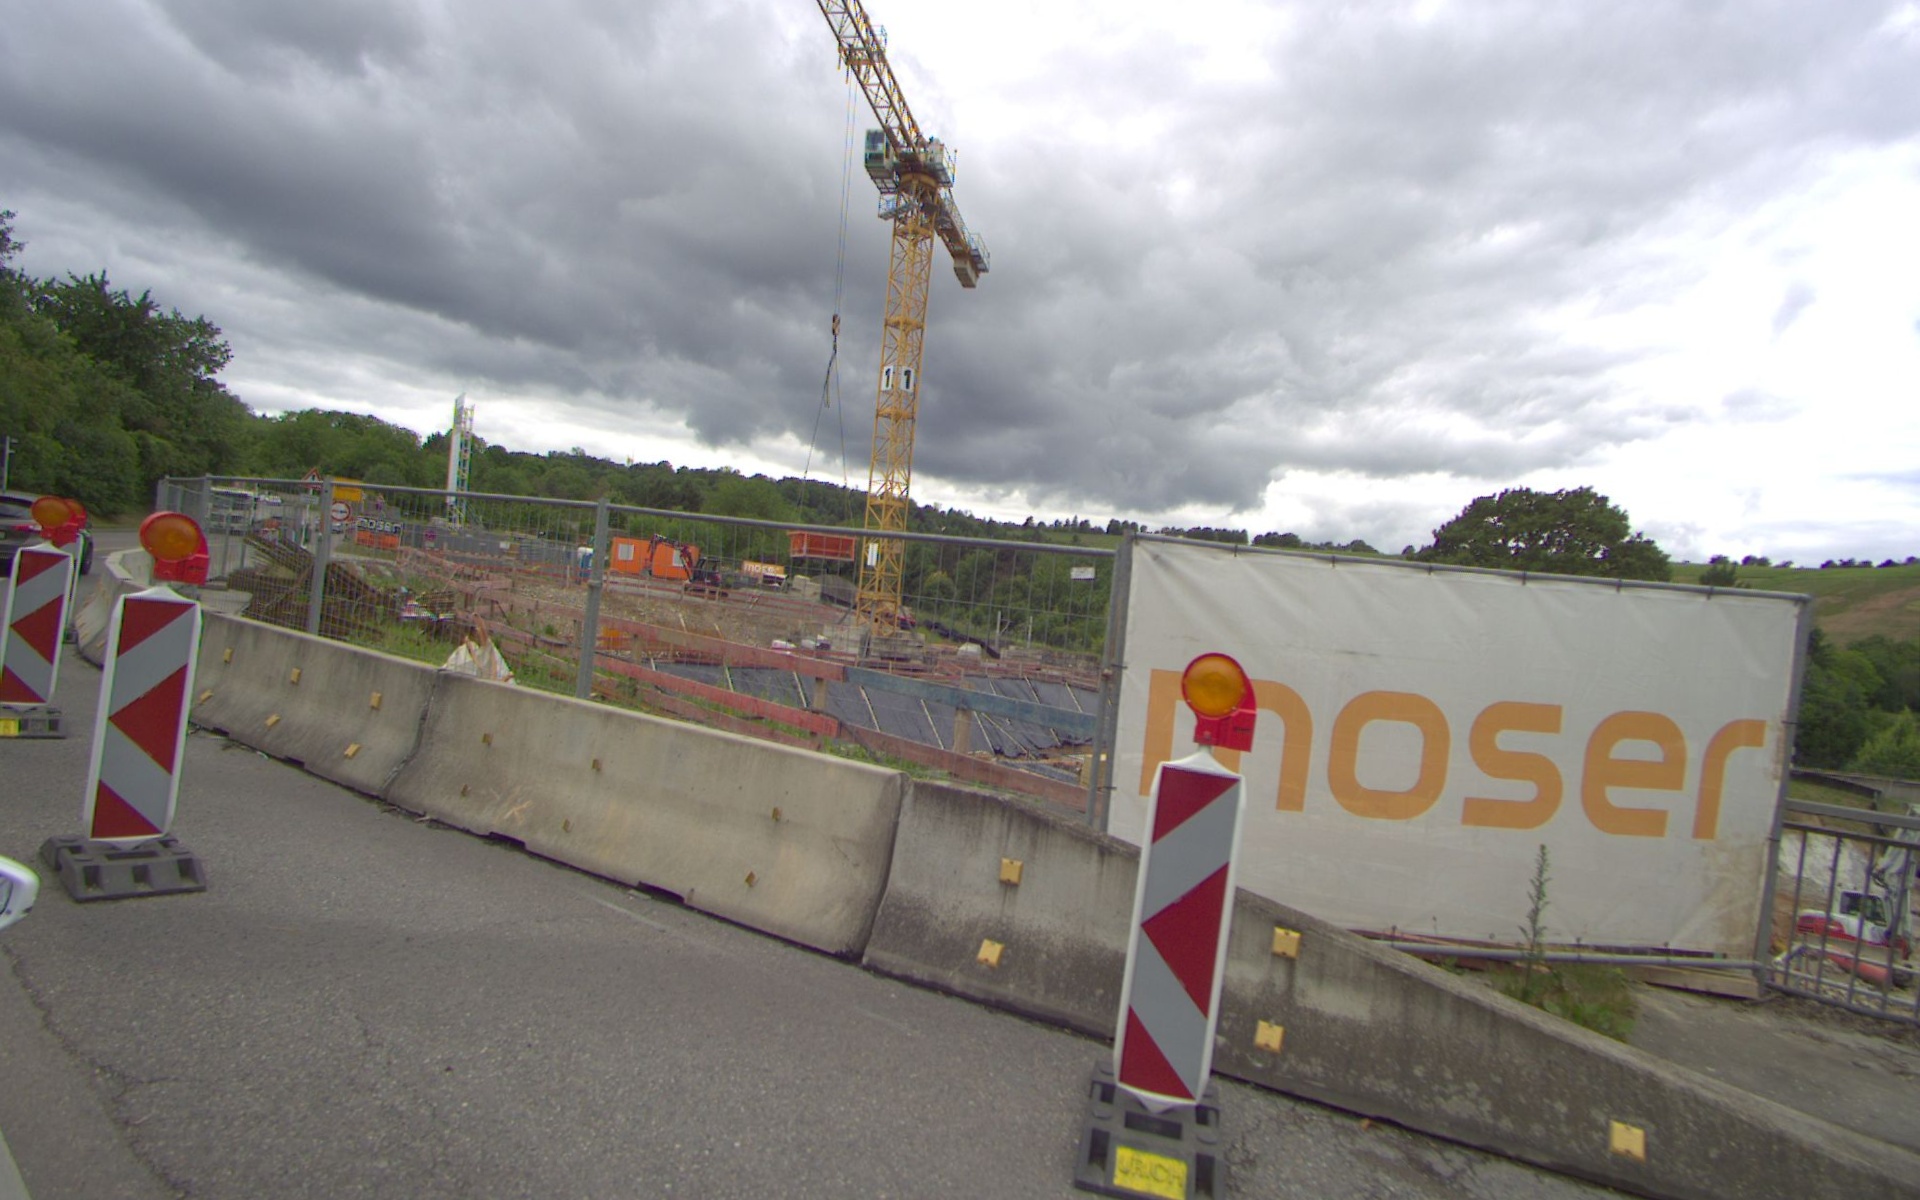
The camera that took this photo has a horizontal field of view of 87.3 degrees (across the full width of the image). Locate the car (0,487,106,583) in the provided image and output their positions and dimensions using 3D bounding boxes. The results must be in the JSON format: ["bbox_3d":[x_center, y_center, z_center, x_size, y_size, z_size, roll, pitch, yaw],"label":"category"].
[{"bbox_3d":[-17.927,-1.296,19.087,1.785,1.570,3.969,9,-2,-30],"label":"car"}]

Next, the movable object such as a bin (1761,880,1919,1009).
[{"bbox_3d":[27.539,10.466,31.023,4.248,2.780,3.021,10,-2,-33],"label":"movable object such as a bin"}]

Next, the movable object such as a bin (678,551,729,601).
[{"bbox_3d":[-17.729,-1.642,69.546,2.768,3.116,1.827,5,1,-29],"label":"movable object such as a bin"}]

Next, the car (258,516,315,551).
[{"bbox_3d":[-36.870,-3.621,55.169,1.802,1.570,3.767,8,-1,-24],"label":"car"}]

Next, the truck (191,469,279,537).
[{"bbox_3d":[-42.669,-5.633,59.469,2.795,3.379,8.319,6,1,-27],"label":"truck"}]

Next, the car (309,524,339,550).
[{"bbox_3d":[-47.859,-4.701,75.733,1.699,1.696,3.967,5,0,-32],"label":"car"}]
